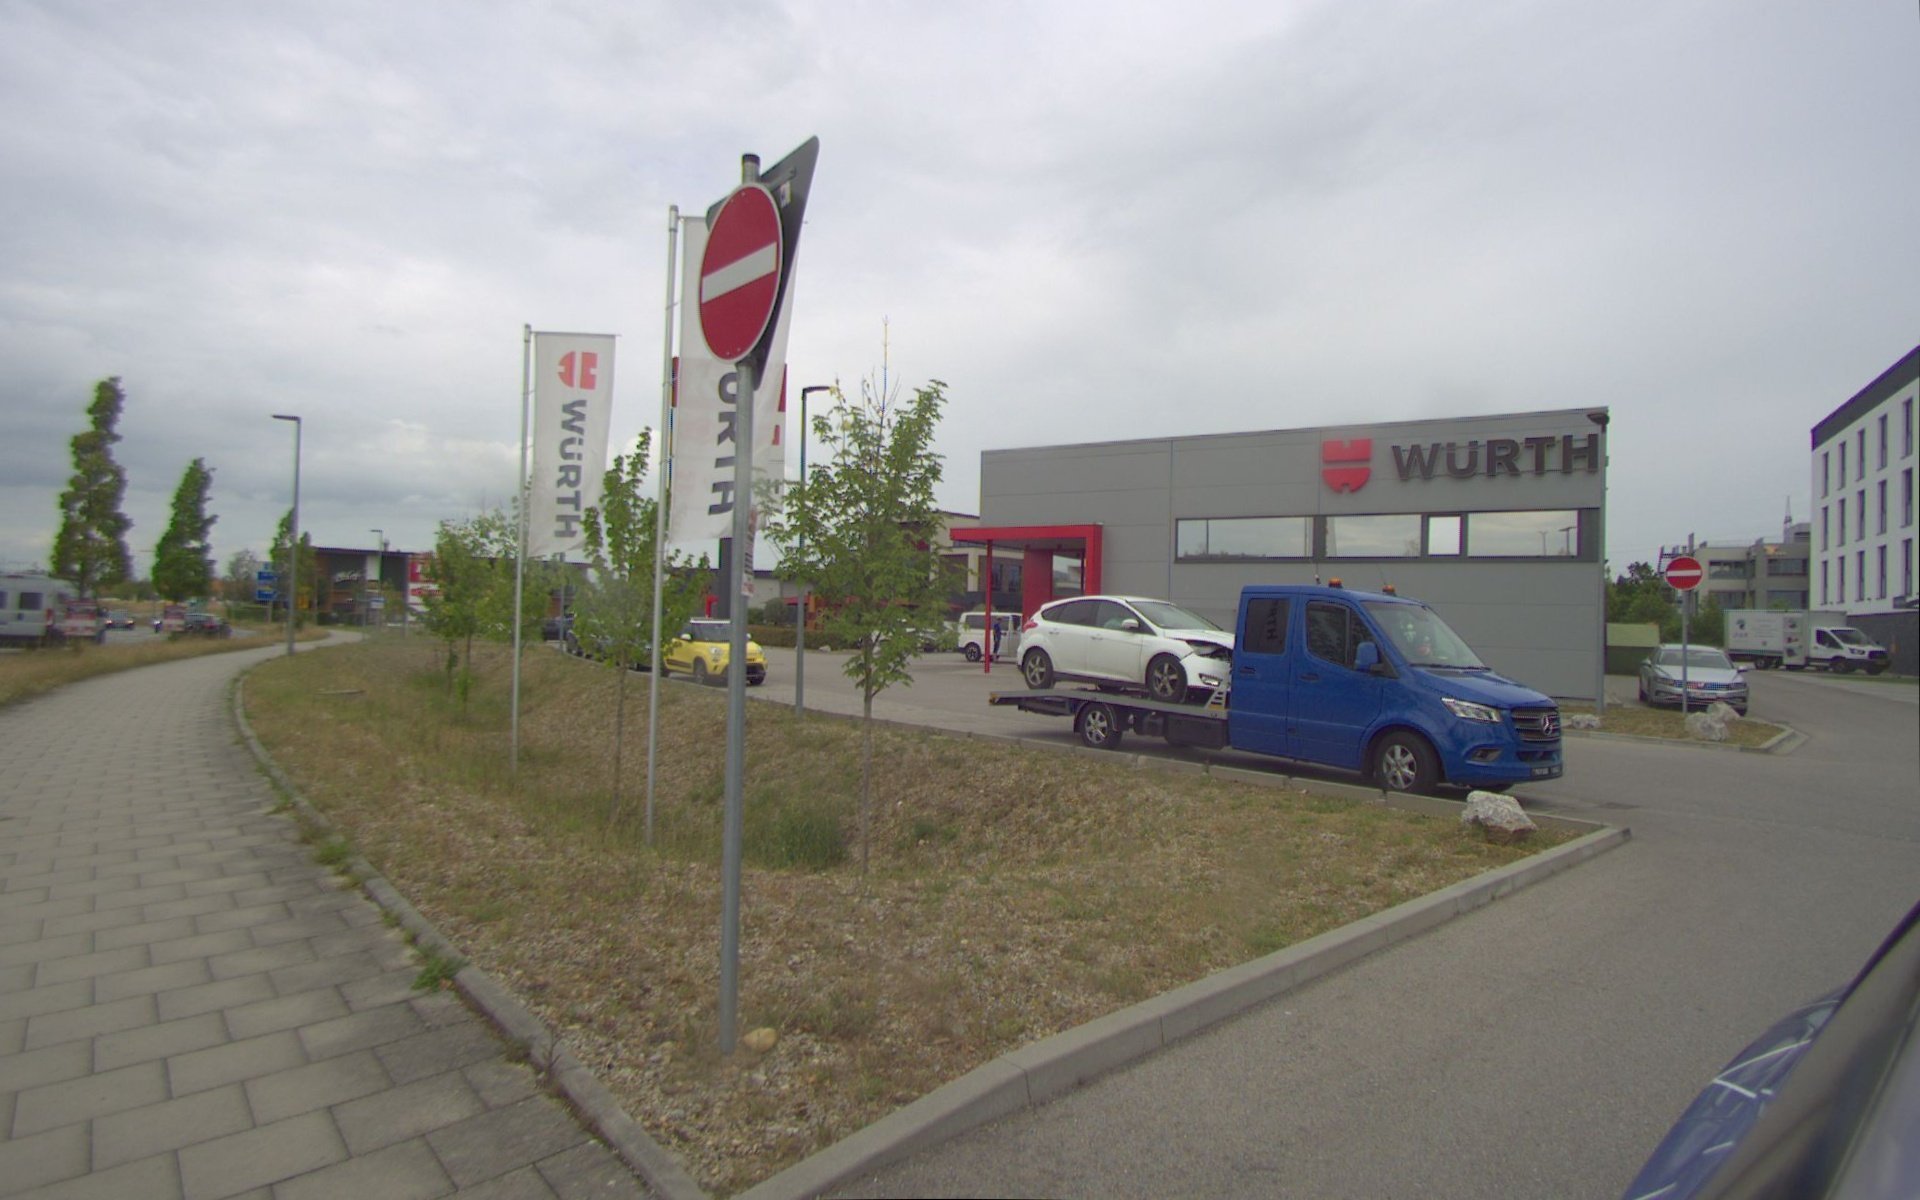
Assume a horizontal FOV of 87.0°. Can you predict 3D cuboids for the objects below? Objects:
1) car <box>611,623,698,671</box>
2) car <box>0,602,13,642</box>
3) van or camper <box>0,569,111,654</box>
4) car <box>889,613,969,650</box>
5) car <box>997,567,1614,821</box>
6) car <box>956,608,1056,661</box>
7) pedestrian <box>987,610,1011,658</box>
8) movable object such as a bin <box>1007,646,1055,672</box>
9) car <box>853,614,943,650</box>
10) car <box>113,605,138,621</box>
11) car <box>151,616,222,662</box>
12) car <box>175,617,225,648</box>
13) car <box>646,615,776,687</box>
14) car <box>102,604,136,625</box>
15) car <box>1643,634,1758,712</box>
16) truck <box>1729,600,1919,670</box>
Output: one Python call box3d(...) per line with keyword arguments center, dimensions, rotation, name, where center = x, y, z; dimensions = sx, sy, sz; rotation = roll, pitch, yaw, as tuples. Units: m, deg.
box3d(center=(-9.804, 1.446, 32.313), dimensions=(1.709, 1.379, 4.003), rotation=(1, -1, -31), name="car")
box3d(center=(-37.960, 0.835, 38.565), dimensions=(1.871, 1.588, 4.338), rotation=(2, -1, -32), name="car")
box3d(center=(-30.264, 0.402, 33.399), dimensions=(2.151, 2.574, 6.172), rotation=(2, -2, -28), name="van or camper")
box3d(center=(-1.718, 1.697, 55.742), dimensions=(3.972, 1.883, 1.975), rotation=(1, -1, 34), name="car")
box3d(center=(3.732, 0.869, 13.223), dimensions=(2.159, 2.352, 7.856), rotation=(2, -1, -35), name="car")
box3d(center=(1.816, 1.322, 40.265), dimensions=(3.648, 2.004, 1.656), rotation=(0, -1, 33), name="car")
box3d(center=(1.497, 1.304, 38.959), dimensions=(0.654, 1.831, 0.641), rotation=(1, -1, 34), name="pedestrian")
box3d(center=(2.166, 1.776, 30.652), dimensions=(0.797, 0.725, 1.566), rotation=(0, -2, 32), name="movable object such as a bin")
box3d(center=(-3.282, 1.660, 53.150), dimensions=(4.709, 1.771, 1.736), rotation=(0, -1, 34), name="car")
box3d(center=(-98.556, 1.541, 119.523), dimensions=(3.900, 1.873, 1.781), rotation=(0, -1, 43), name="car")
box3d(center=(-29.979, 1.471, 39.312), dimensions=(1.651, 1.698, 3.510), rotation=(1, -1, -28), name="car")
box3d(center=(-37.457, 1.576, 49.937), dimensions=(1.464, 1.403, 3.345), rotation=(1, -1, -28), name="car")
box3d(center=(-6.663, 1.278, 26.776), dimensions=(1.721, 1.705, 4.294), rotation=(1, -1, -38), name="car")
box3d(center=(-65.944, 1.138, 79.370), dimensions=(1.874, 1.588, 4.332), rotation=(2, -1, -38), name="car")
box3d(center=(17.527, 1.629, 23.900), dimensions=(1.971, 1.510, 4.704), rotation=(3, 0, 38), name="car")
box3d(center=(40.862, 1.577, 48.230), dimensions=(2.387, 3.055, 7.078), rotation=(1, -1, -8), name="truck")
